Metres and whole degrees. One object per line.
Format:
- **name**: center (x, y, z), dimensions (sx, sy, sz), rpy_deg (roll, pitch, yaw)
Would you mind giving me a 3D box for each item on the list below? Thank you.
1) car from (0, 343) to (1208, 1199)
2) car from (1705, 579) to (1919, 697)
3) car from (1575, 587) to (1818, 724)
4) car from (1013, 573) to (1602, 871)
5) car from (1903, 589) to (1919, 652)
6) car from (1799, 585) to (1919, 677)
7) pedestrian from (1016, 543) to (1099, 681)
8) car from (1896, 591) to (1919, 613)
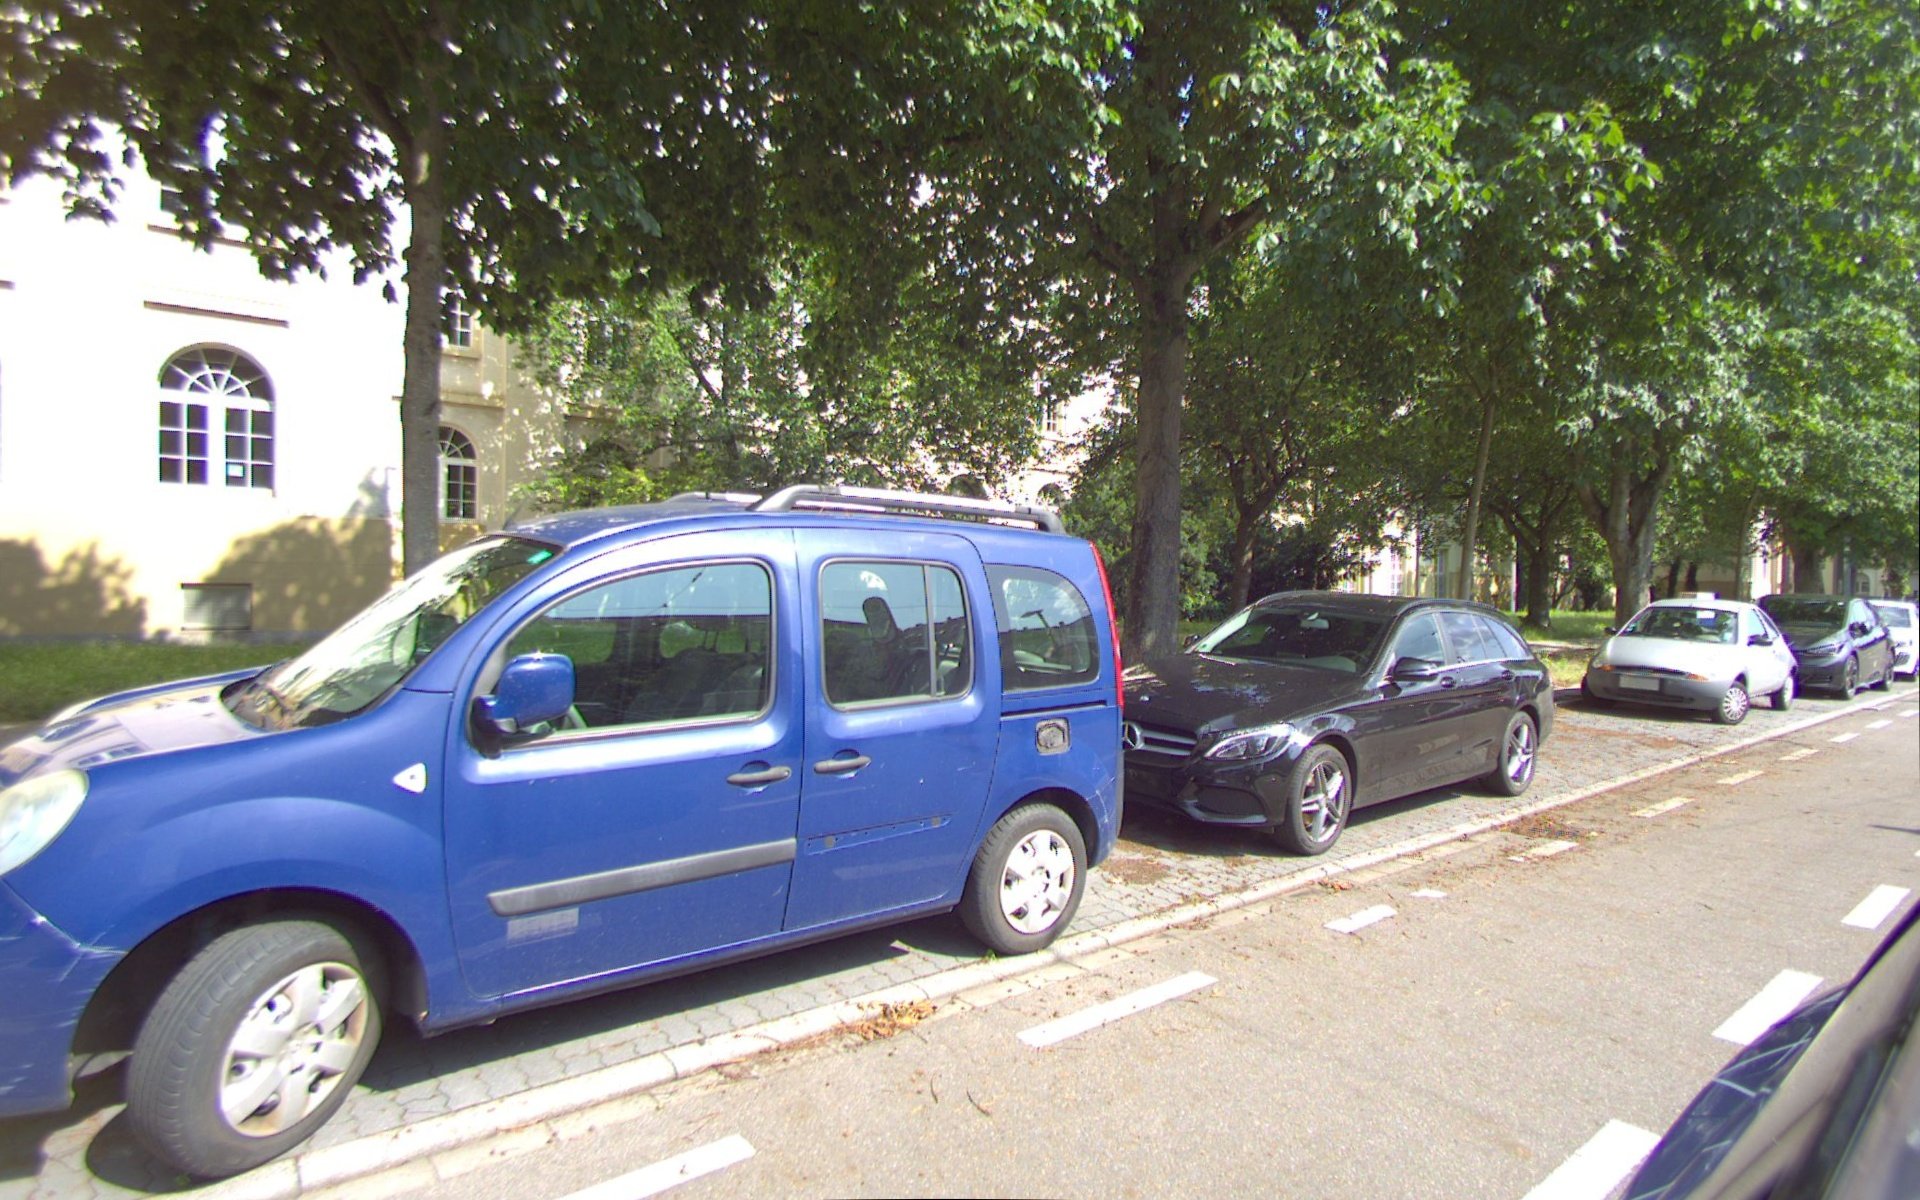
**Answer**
- **car**: center (-1.117, 0.396, 3.957), dimensions (4.106, 1.919, 1.828), rpy_deg (1, 2, -37)
- **car**: center (13.845, 0.524, 16.336), dimensions (4.591, 1.603, 1.730), rpy_deg (0, 2, -38)
- **car**: center (9.520, 0.602, 13.010), dimensions (3.532, 1.462, 1.595), rpy_deg (-1, 3, -38)
- **car**: center (2.793, 0.621, 7.496), dimensions (4.711, 1.459, 1.922), rpy_deg (0, 3, -40)
- **car**: center (24.815, 0.521, 25.160), dimensions (3.497, 1.478, 1.559), rpy_deg (-1, 5, -41)
- **car**: center (18.087, 0.529, 19.836), dimensions (4.179, 1.542, 1.839), rpy_deg (0, 4, -41)
- **pedestrian**: center (1.260, 0.144, 13.102), dimensions (0.752, 1.717, 0.747), rpy_deg (0, 1, -34)
- **car**: center (77.687, 0.210, 80.159), dimensions (1.820, 1.676, 4.843), rpy_deg (-1, 2, -28)
